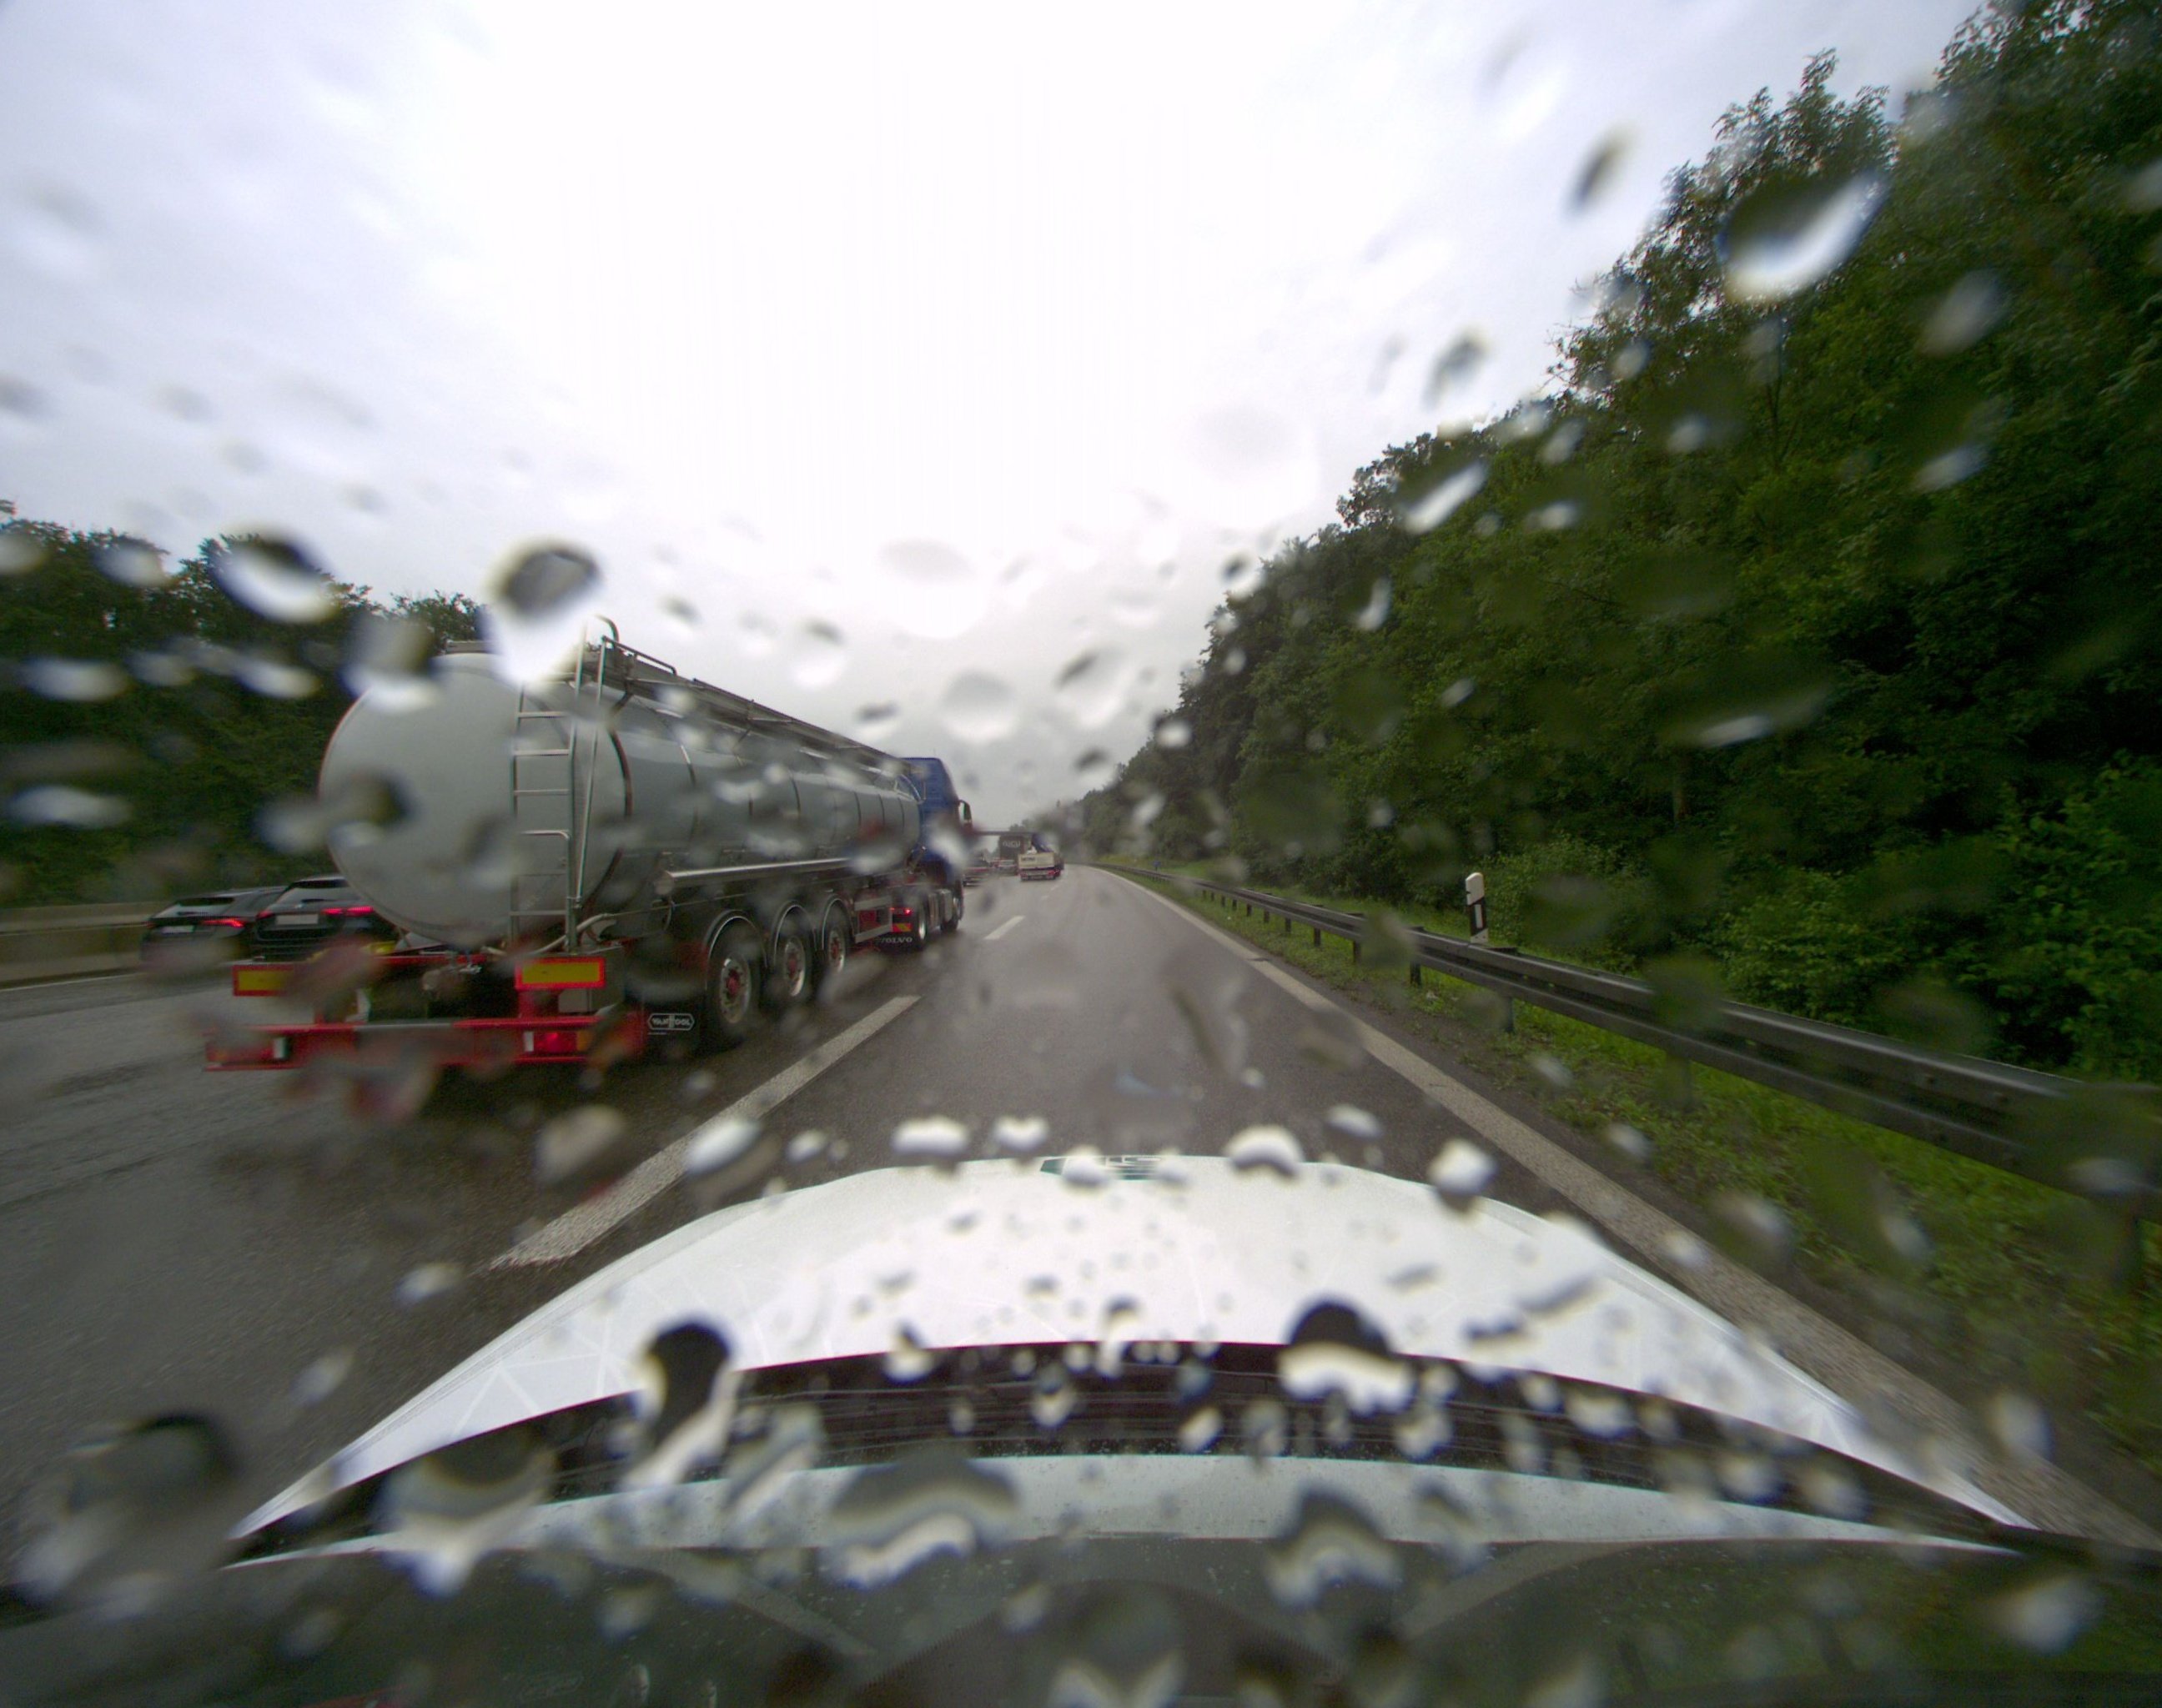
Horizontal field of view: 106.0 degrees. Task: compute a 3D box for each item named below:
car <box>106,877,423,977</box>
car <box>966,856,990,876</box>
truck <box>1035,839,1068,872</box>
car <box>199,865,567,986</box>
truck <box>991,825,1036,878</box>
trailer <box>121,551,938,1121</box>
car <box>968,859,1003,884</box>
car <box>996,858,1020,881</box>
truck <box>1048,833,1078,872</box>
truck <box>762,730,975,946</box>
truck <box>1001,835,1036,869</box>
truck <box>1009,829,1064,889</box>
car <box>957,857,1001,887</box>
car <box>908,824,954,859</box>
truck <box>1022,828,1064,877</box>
[{"bbox_3d":[-15.101,1.265,15.448,1.875,1.508,4.002,-1,0,2],"label":"car"},{"bbox_3d":[-10.385,1.241,82.557,1.838,1.860,3.999,2,-2,0],"label":"car"},{"bbox_3d":[-3.895,0.254,109.983,3.742,3.971,11.058,2,-2,1],"label":"truck"},{"bbox_3d":[-11.282,1.029,13.791,1.986,1.594,4.809,-1,0,1],"label":"car"},{"bbox_3d":[-7.407,-0.093,91.373,3.741,5.500,10.174,2,-2,2],"label":"truck"},{"bbox_3d":[-4.121,-0.099,9.818,2.864,3.289,10.078,-1,0,0],"label":"trailer"},{"bbox_3d":[-6.837,1.217,58.762,1.931,1.662,4.000,-1,0,1],"label":"car"},{"bbox_3d":[-6.806,1.509,76.297,1.786,2.014,4.000,2,-2,1],"label":"car"},{"bbox_3d":[-2.820,-0.113,130.937,4.323,5.764,9.725,2,-2,-1],"label":"truck"},{"bbox_3d":[-4.009,-0.272,16.654,2.867,3.693,5.057,-1,0,1],"label":"truck"},{"bbox_3d":[-8.314,-0.135,109.086,3.563,4.096,10.880,-1,-2,1],"label":"truck"},{"bbox_3d":[-3.234,0.370,62.941,3.589,4.105,11.556,-1,0,0],"label":"truck"},{"bbox_3d":[-6.058,1.118,48.925,1.987,1.636,4.000,2,-2,1],"label":"car"},{"bbox_3d":[-8.868,-0.684,48.486,1.790,1.838,4.000,2,-2,1],"label":"car"},{"bbox_3d":[-3.534,0.003,78.628,3.496,4.268,10.597,2,-2,-1],"label":"truck"}]
